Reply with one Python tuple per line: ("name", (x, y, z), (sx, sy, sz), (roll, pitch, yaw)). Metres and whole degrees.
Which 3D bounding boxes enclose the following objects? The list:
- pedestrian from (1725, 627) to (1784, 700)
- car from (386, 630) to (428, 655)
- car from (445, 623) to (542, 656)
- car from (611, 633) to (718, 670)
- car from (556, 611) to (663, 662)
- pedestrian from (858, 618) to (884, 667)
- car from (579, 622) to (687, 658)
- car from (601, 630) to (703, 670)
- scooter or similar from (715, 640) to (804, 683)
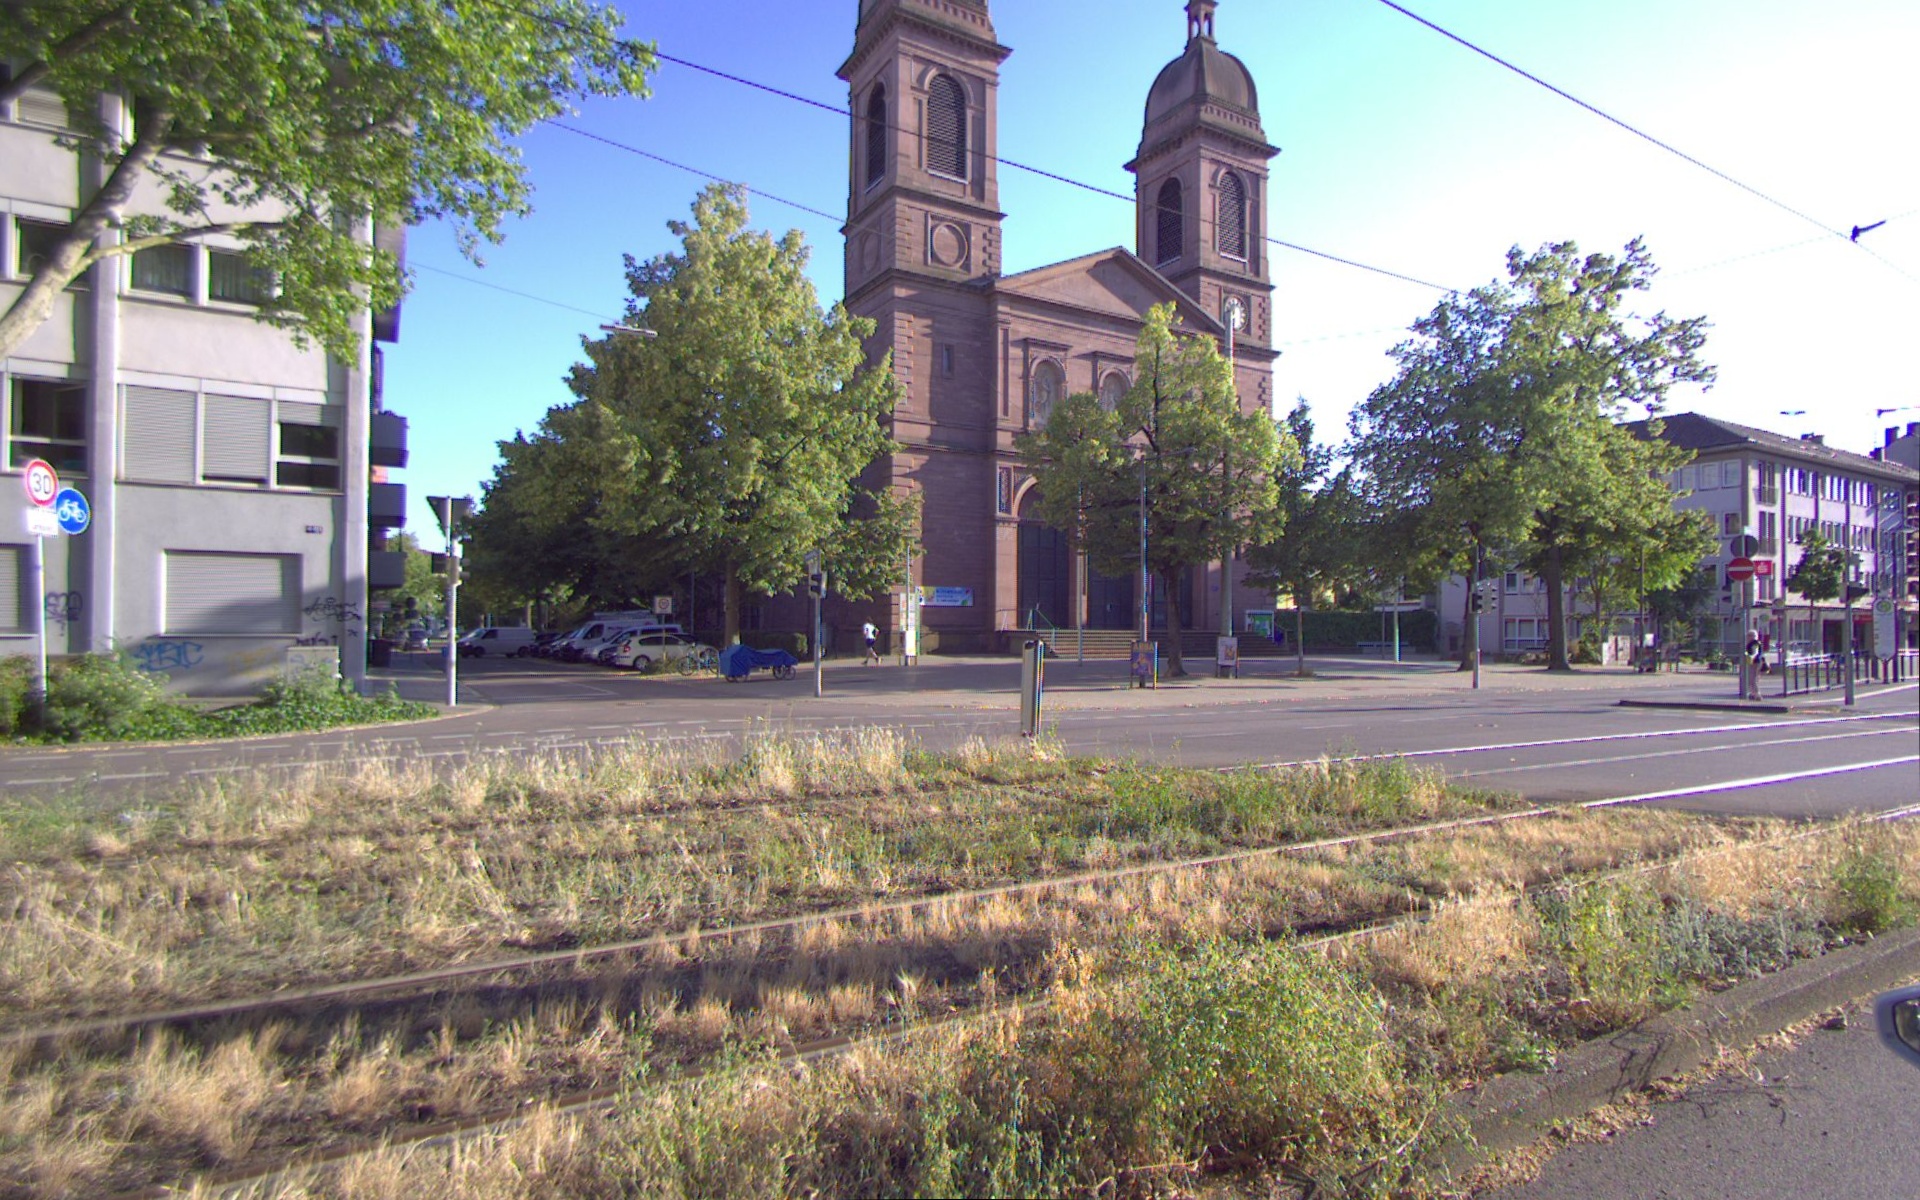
("pedestrian", (19.885, 1.584, 25.160), (0.822, 1.783, 0.915), (2, -2, -29))
("car", (-46.989, 3.557, 85.300), (1.985, 2.040, 5.360), (2, -2, -41))
("car", (-30.260, 2.560, 65.295), (1.970, 2.040, 5.400), (-1, -2, 40))
("car", (-12.253, 2.113, 41.706), (3.953, 1.416, 1.802), (0, -1, -30))
("car", (-18.458, 1.923, 52.952), (5.054, 2.551, 1.984), (1, -2, -30))
("pedestrian", (-3.251, 1.546, 36.833), (0.684, 1.789, 0.733), (1, -1, -31))
("car", (-15.656, 1.905, 48.135), (4.655, 1.684, 1.984), (1, -2, -30))
("car", (-13.486, 2.165, 43.954), (3.953, 1.639, 1.876), (1, -2, -30))
("scooter or similar", (-6.117, 1.850, 30.700), (2.419, 1.141, 1.088), (-1, 0, -30))
